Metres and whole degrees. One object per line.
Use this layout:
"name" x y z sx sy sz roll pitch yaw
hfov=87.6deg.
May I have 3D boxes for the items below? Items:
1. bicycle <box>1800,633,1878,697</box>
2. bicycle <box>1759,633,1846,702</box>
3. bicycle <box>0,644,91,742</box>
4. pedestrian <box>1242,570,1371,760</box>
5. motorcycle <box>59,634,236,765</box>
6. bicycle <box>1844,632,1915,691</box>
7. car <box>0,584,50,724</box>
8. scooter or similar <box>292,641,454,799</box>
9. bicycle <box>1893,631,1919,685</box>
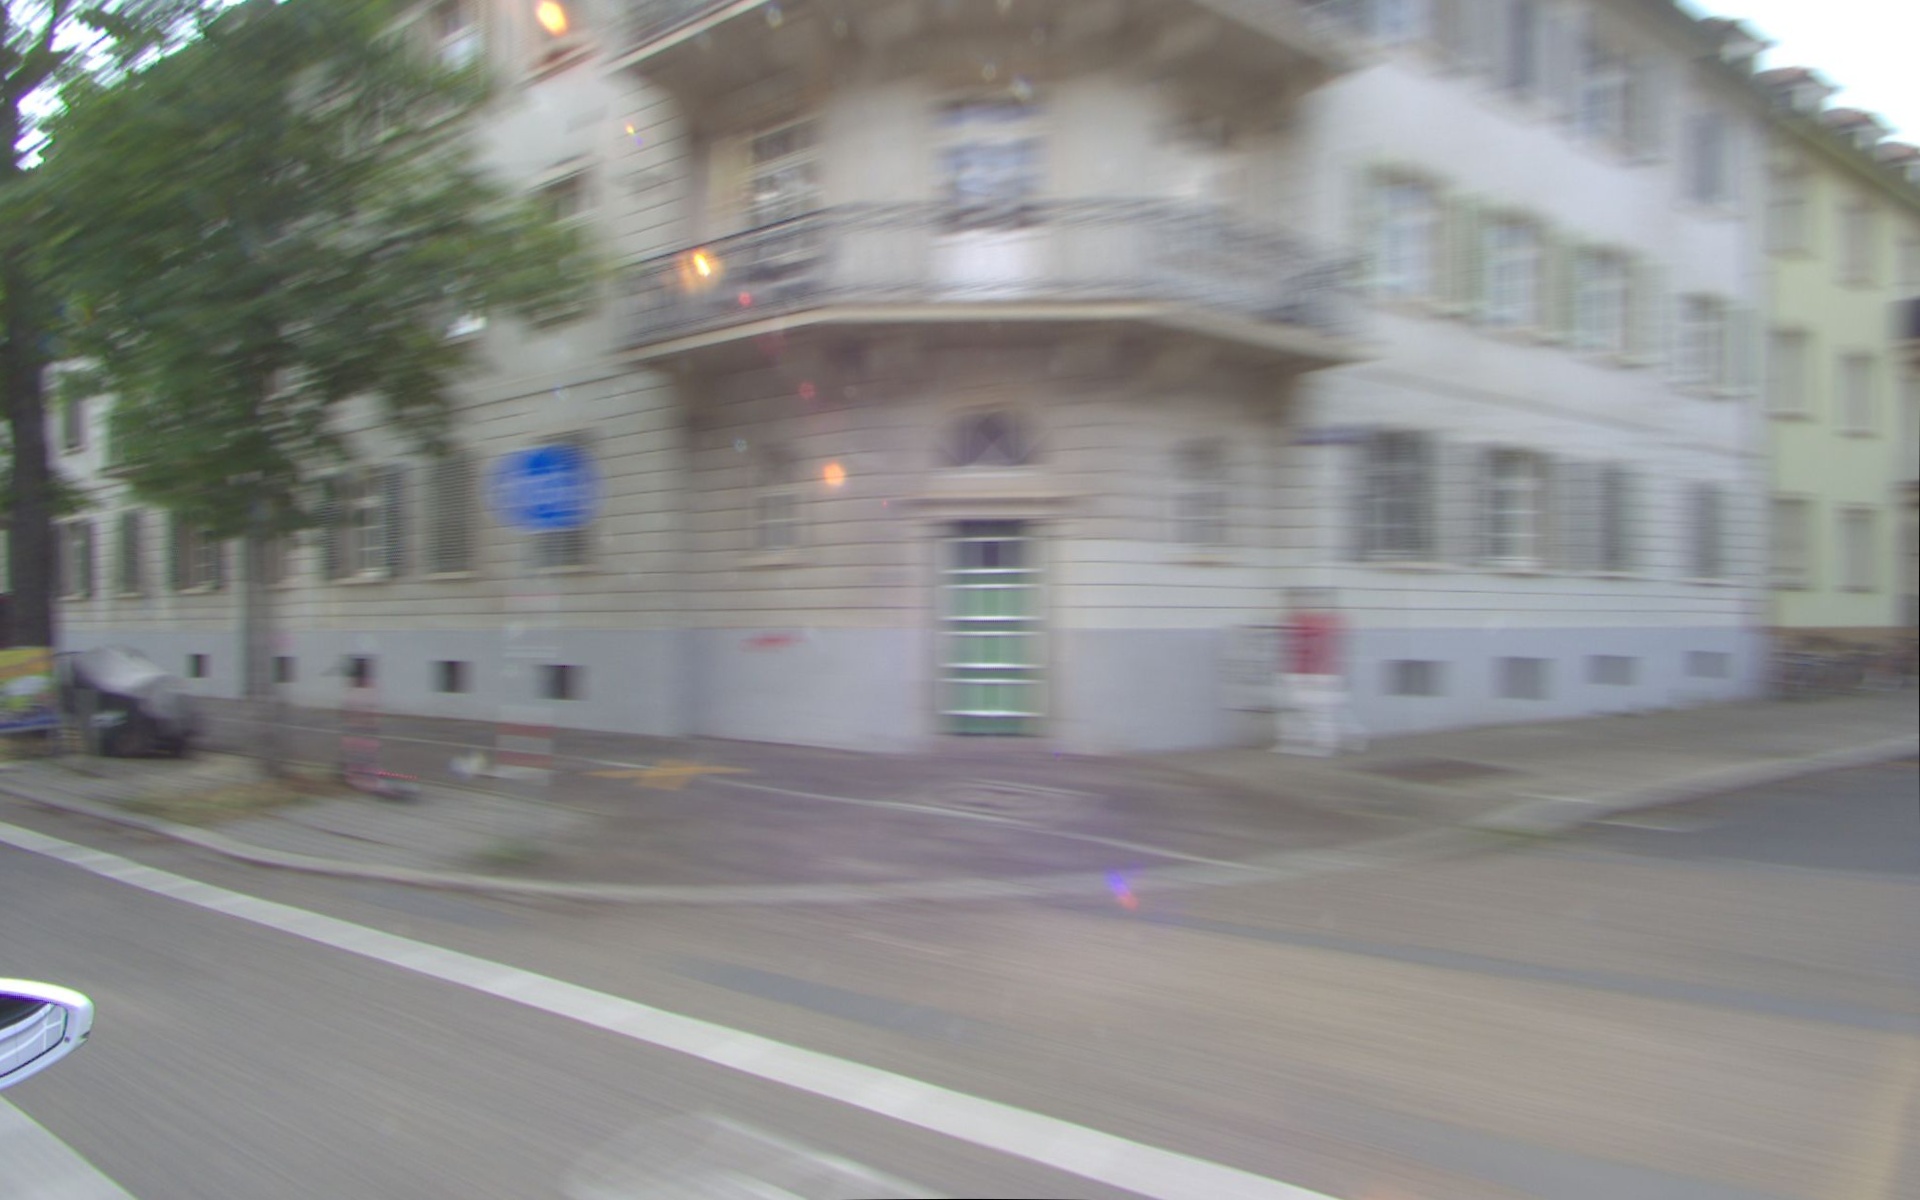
"bicycle" 17.683 1.279 20.122 2.485 1.163 0.677 1 2 -38
"bicycle" 15.664 1.220 18.588 2.485 1.163 0.677 1 2 -38
"bicycle" -12.310 1.194 12.881 0.581 1.219 1.608 -1 -1 29
"pedestrian" 3.772 0.678 10.932 0.964 1.962 0.896 1 1 -31
"motorcycle" -9.154 1.050 11.245 2.411 1.338 0.855 -1 -1 33
"bicycle" 19.850 1.298 21.603 2.485 1.163 0.677 1 2 -38
"car" -15.734 0.791 15.000 4.880 1.966 1.892 -1 -1 32
"scooter or similar" -5.202 1.007 8.847 1.696 1.267 0.531 -1 0 33
"bicycle" 22.212 1.325 23.014 2.485 1.163 0.677 1 2 -38
